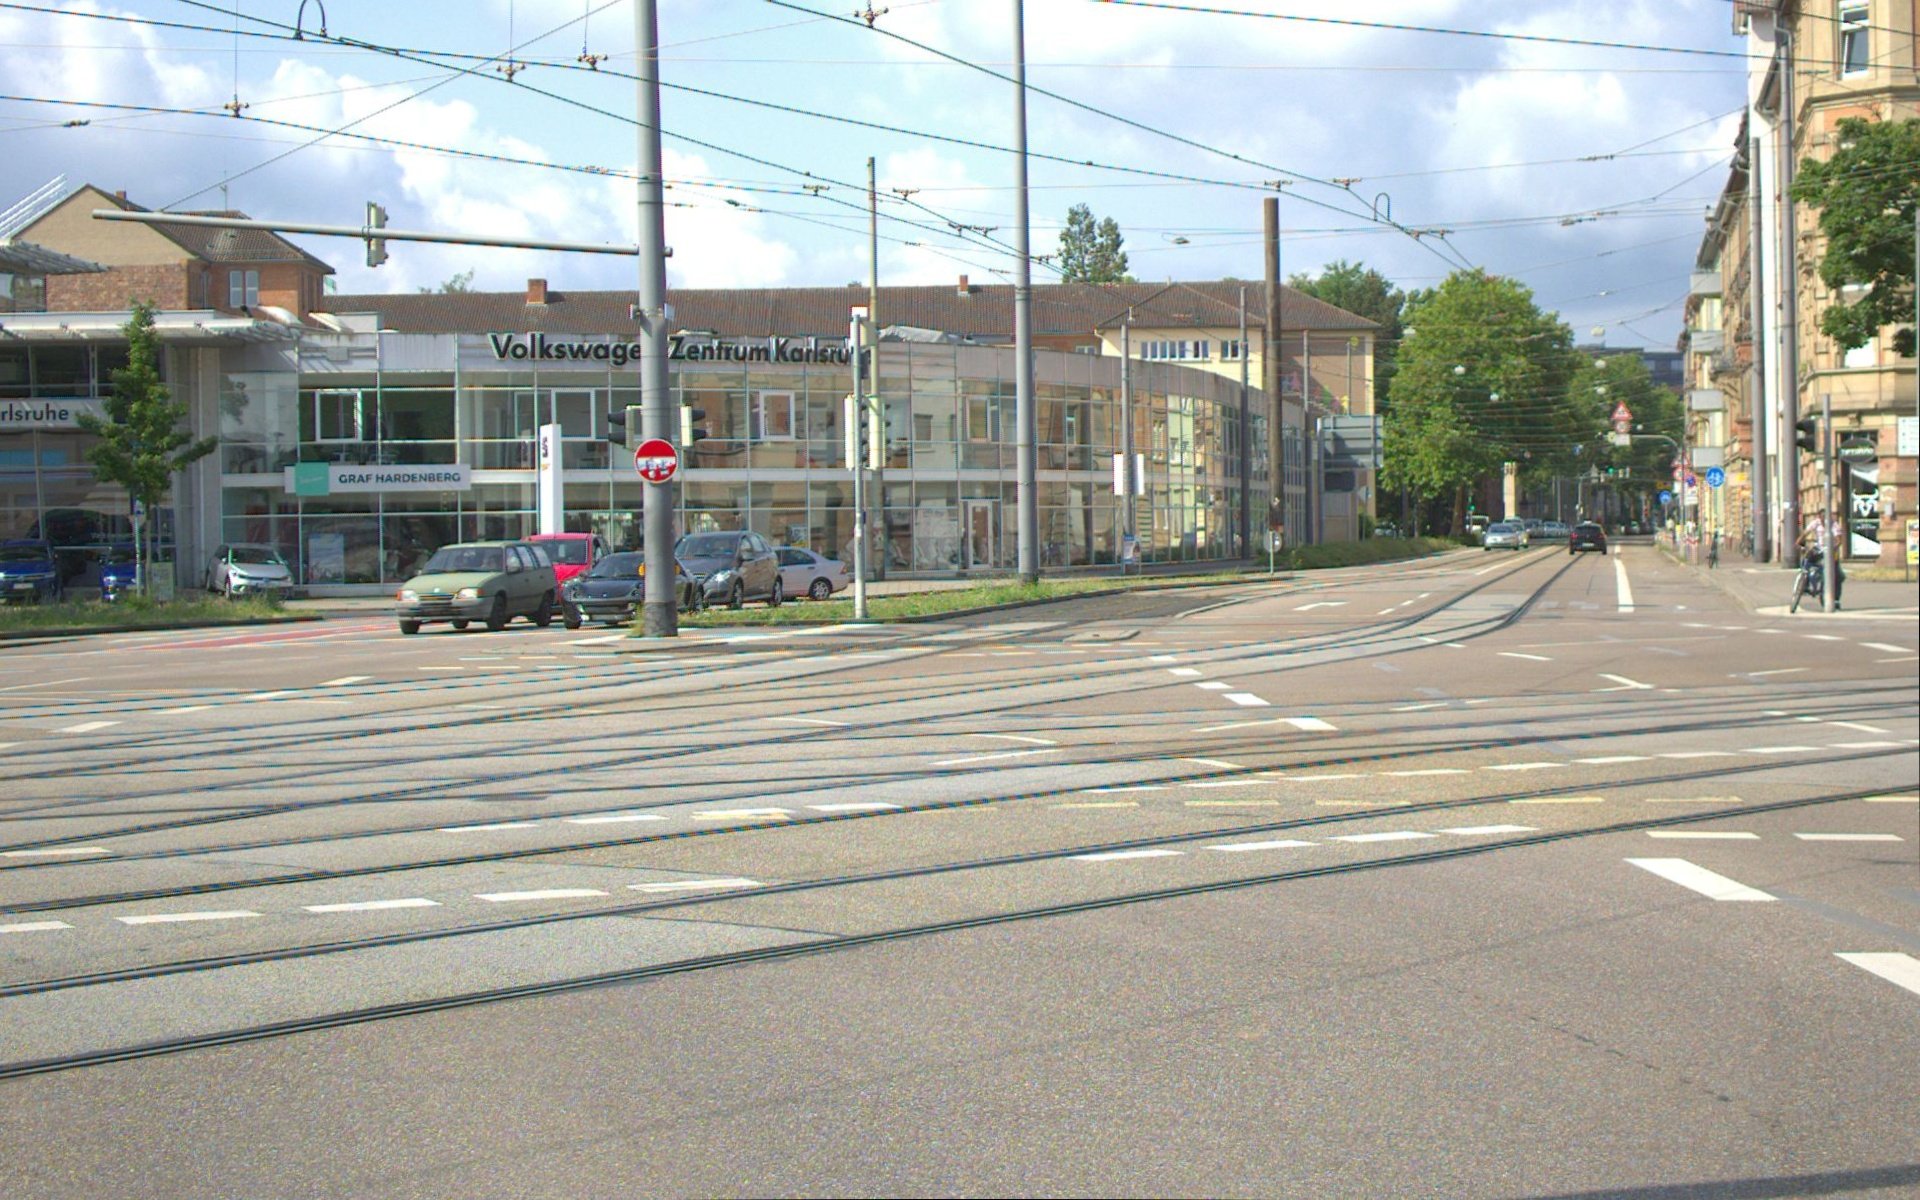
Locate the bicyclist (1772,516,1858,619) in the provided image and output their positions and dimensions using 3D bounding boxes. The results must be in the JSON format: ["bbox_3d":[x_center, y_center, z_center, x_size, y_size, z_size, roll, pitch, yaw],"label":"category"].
[{"bbox_3d":[13.994,-0.538,56.275,1.194,1.652,0.785,-2,2,-38],"label":"bicyclist"}]

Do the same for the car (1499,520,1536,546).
[{"bbox_3d":[32.213,-3.884,198.702,1.994,1.486,3.999,0,1,8],"label":"car"}]

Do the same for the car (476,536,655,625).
[{"bbox_3d":[-6.984,-0.356,61.194,1.994,1.514,3.998,1,1,12],"label":"car"}]

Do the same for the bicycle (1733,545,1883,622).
[{"bbox_3d":[13.867,-0.280,56.191,2.672,1.166,0.900,-2,2,-38],"label":"bicycle"}]

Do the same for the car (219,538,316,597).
[{"bbox_3d":[-18.590,-0.890,92.403,1.919,1.546,4.001,-1,1,-2],"label":"car"}]

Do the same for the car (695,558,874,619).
[{"bbox_3d":[-4.311,-0.293,84.840,1.780,1.459,4.471,1,1,42],"label":"car"}]

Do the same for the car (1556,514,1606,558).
[{"bbox_3d":[28.780,-2.956,159.278,1.995,2.007,3.998,0,1,14],"label":"car"}]

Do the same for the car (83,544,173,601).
[{"bbox_3d":[-21.810,-0.736,90.268,1.919,1.440,4.001,-1,1,-8],"label":"car"}]

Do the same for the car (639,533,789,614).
[{"bbox_3d":[-4.877,-0.551,68.663,1.994,1.546,3.998,0,1,11],"label":"car"}]

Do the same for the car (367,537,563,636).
[{"bbox_3d":[-7.862,-0.238,54.920,1.821,1.508,3.998,1,1,12],"label":"car"}]

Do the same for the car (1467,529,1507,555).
[{"bbox_3d":[28.312,-3.120,184.854,1.994,1.327,3.999,0,1,7],"label":"car"}]

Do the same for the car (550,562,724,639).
[{"bbox_3d":[-5.061,-0.019,54.418,1.622,1.157,3.998,1,1,12],"label":"car"}]

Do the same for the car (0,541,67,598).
[{"bbox_3d":[-24.518,-0.824,90.425,1.919,1.440,4.001,-1,1,-14],"label":"car"}]
